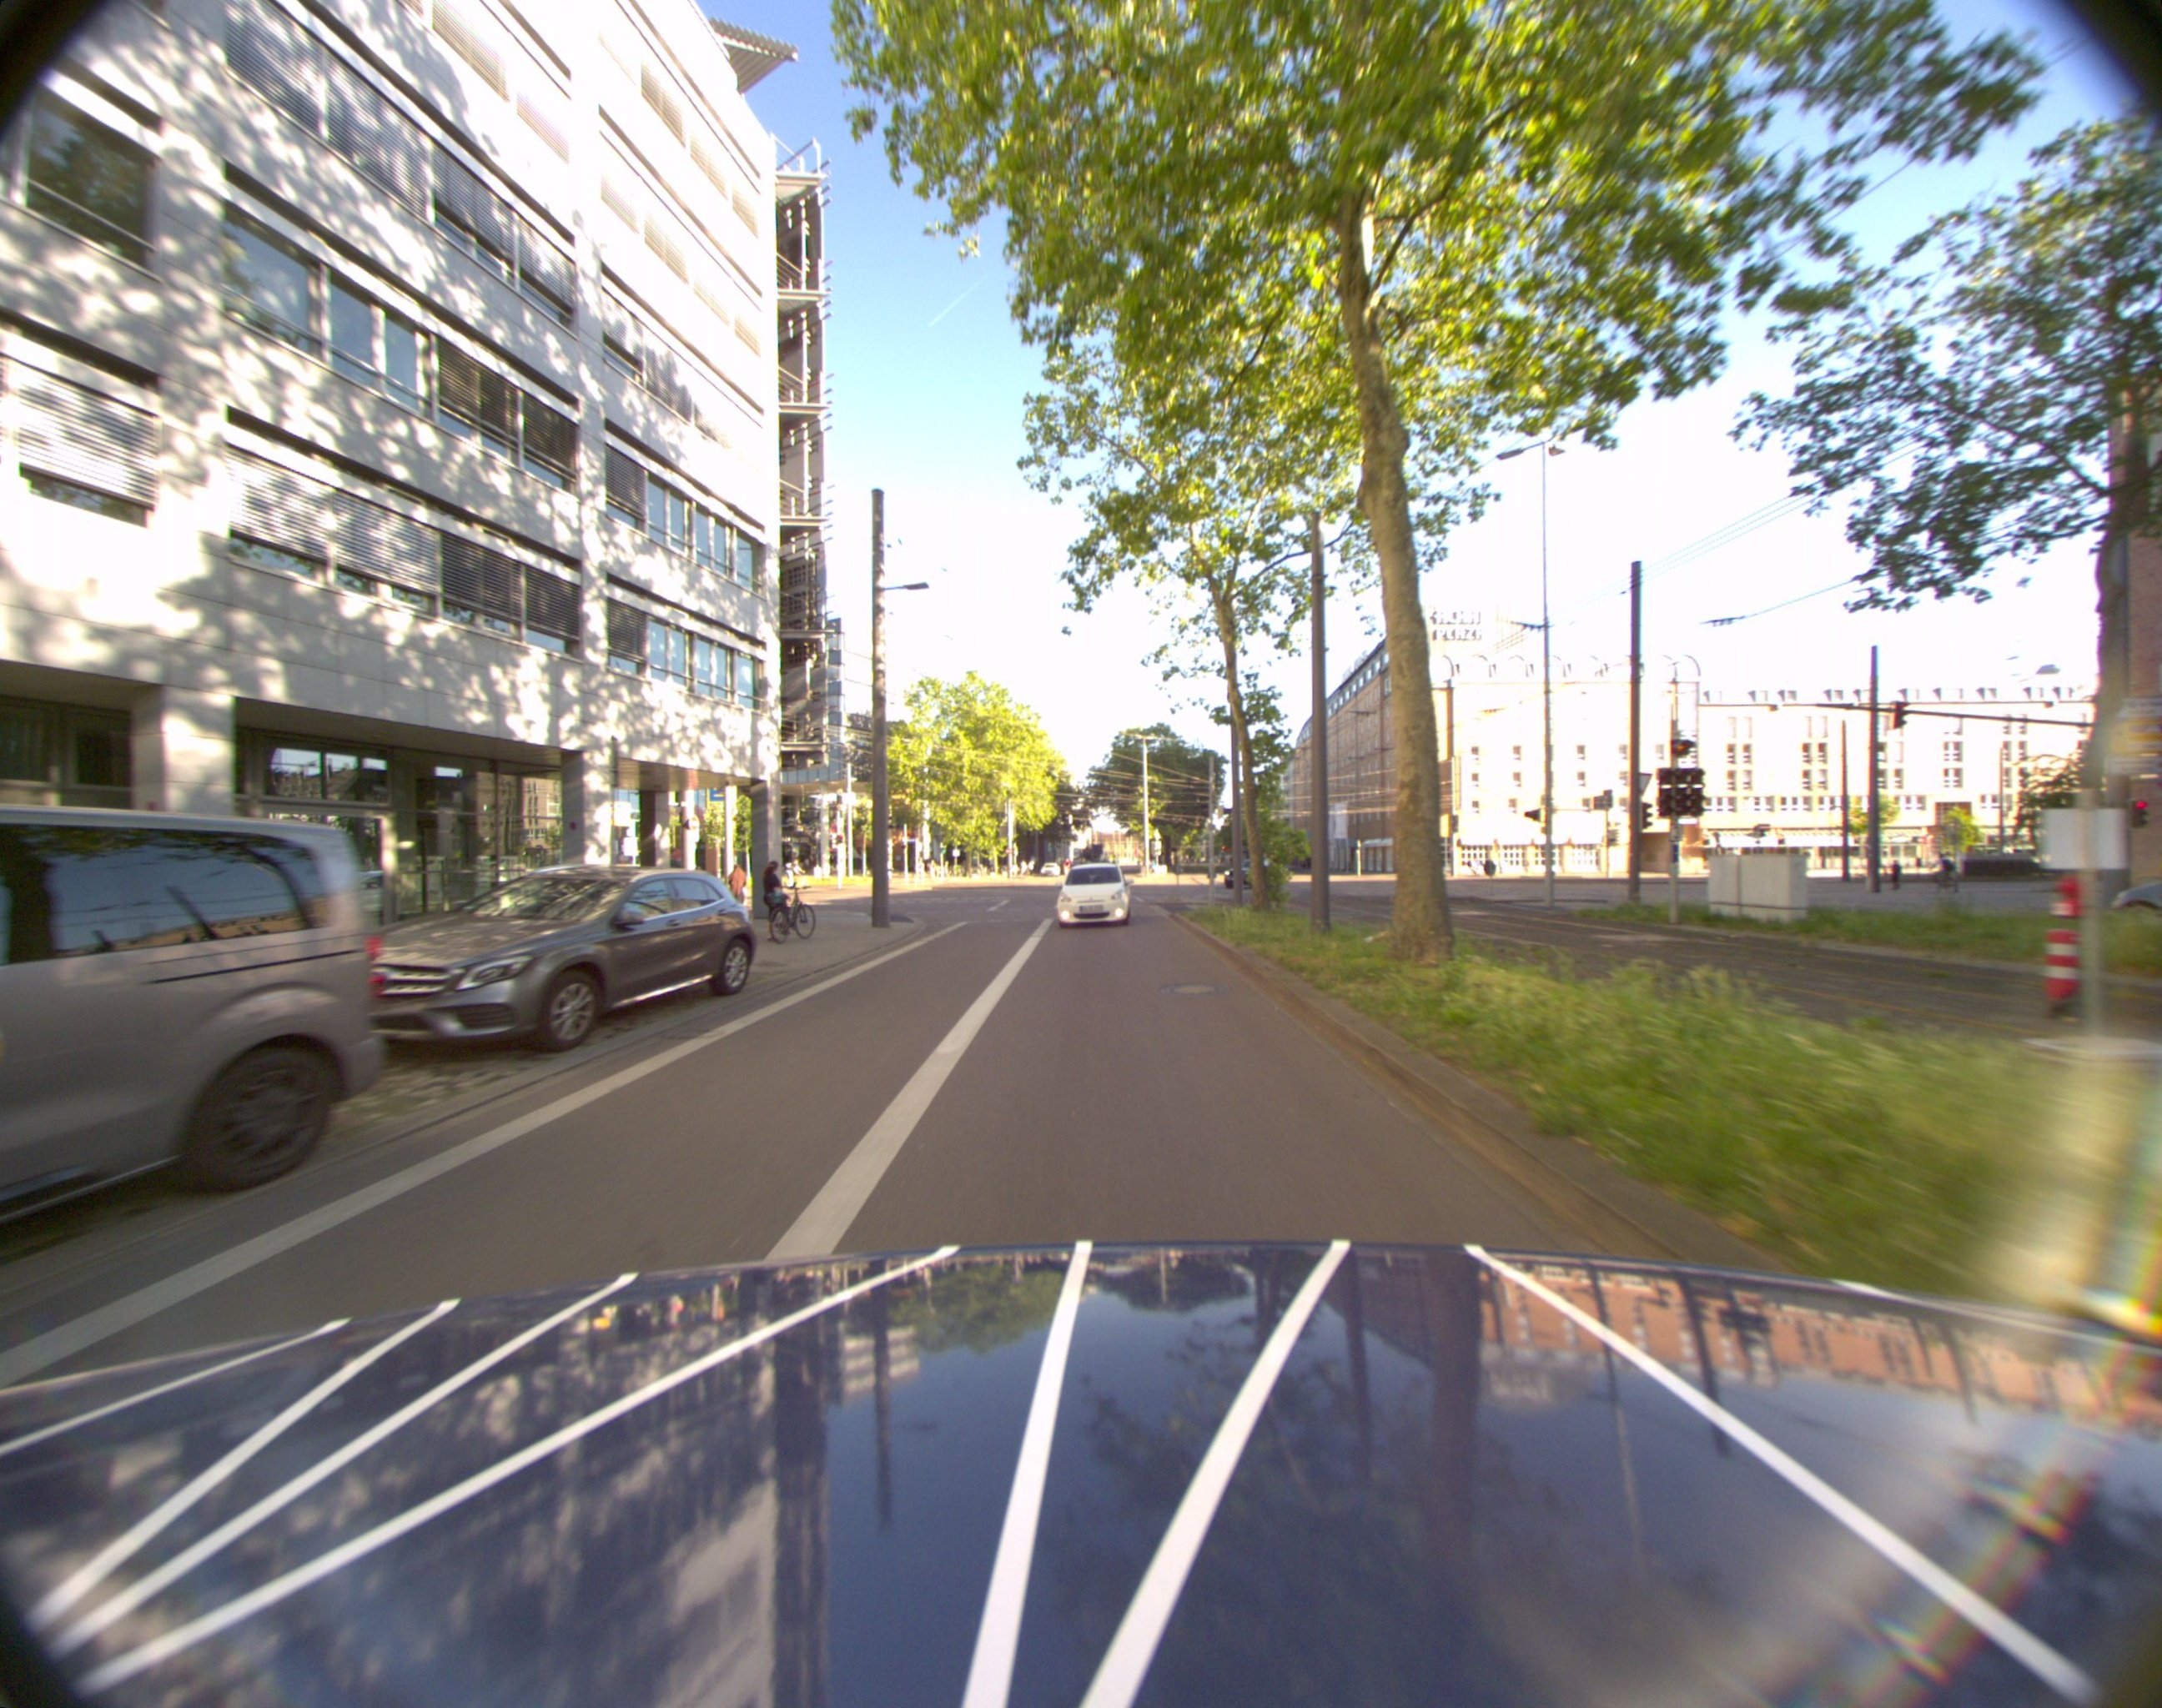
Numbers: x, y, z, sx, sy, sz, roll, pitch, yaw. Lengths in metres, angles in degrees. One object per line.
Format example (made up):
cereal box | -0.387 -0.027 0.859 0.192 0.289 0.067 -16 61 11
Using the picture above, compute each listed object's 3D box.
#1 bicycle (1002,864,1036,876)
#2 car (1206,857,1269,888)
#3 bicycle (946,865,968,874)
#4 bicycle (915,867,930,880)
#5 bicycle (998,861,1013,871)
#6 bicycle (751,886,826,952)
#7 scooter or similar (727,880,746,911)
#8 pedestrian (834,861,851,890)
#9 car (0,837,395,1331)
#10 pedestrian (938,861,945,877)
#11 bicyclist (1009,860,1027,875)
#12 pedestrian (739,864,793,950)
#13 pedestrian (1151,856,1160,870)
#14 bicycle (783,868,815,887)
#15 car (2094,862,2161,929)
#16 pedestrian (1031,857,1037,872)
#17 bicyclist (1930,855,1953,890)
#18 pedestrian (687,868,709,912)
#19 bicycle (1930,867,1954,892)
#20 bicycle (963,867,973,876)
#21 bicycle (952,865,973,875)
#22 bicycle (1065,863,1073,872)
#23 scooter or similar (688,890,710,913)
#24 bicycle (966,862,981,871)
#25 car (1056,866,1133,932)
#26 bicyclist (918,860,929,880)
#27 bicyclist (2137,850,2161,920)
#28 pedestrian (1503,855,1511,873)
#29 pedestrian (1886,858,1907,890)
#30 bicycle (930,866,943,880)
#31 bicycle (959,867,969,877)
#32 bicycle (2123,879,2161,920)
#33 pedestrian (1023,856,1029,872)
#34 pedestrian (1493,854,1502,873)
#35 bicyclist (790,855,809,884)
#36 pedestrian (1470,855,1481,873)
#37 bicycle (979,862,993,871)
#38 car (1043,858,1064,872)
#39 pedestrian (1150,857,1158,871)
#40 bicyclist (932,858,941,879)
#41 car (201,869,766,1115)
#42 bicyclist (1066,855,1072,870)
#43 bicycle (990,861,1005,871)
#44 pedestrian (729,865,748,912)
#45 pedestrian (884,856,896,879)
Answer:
bicycle | -5.939 1.575 72.771 3.177 1.126 1.044 0 0 4
car | 8.987 1.079 44.105 1.957 1.652 4.352 -1 -1 -12
bicycle | -14.813 1.826 90.626 2.924 1.085 0.880 0 0 41
bicycle | -12.399 1.529 59.563 0.515 1.015 1.634 -1 0 13
bicycle | -9.276 1.435 93.282 0.879 1.228 2.926 0 0 -27
bicycle | -5.765 1.245 15.075 0.612 1.156 1.849 3 -1 4
scooter or similar | -13.076 1.573 28.842 0.551 1.123 1.016 0 0 -29
pedestrian | -15.308 1.364 48.830 0.676 1.813 0.885 -1 2 5
car | -5.027 0.851 1.969 1.927 1.833 4.925 2 0 1
pedestrian | -13.114 1.410 71.386 0.489 1.573 0.659 0 0 3
bicyclist | -6.013 1.289 72.789 1.562 1.373 1.044 0 0 4
pedestrian | -6.163 1.014 14.890 0.606 1.601 0.838 2 -1 3
pedestrian | 7.853 0.939 80.206 0.742 1.530 0.677 -1 -1 -8
bicycle | -16.537 1.375 44.602 1.686 1.101 0.643 0 0 -18
car | 22.399 0.798 14.344 1.654 1.320 3.622 -1 -1 -2
pedestrian | -5.432 1.182 88.223 0.642 1.766 0.617 -1 0 0
bicyclist | 40.273 0.862 35.554 0.929 1.581 0.684 -1 0 -43
pedestrian | -14.201 1.317 28.156 0.661 1.591 0.702 0 -1 -31
bicycle | 40.290 1.185 35.557 1.924 1.073 0.615 -1 0 -45
bicycle | -12.070 1.890 81.249 0.390 0.980 1.712 0 0 14
bicycle | -14.285 1.931 91.419 2.924 1.085 0.880 0 0 41
bicycle | -1.341 1.486 84.157 0.651 0.905 1.860 0 0 4
scooter or similar | -13.870 1.719 27.577 0.661 0.786 0.616 0 -1 -31
bicycle | -13.251 1.505 93.826 0.879 1.085 2.926 0 0 -27
car | 0.438 1.041 19.253 1.639 1.458 4.188 0 0 5
bicyclist | -12.382 1.251 59.585 0.569 1.494 0.746 -1 1 13
bicyclist | 25.415 0.716 17.660 0.623 1.612 0.815 -1 0 14
pedestrian | 41.697 0.997 74.438 0.577 1.764 0.406 1 3 44
pedestrian | 42.062 1.028 39.179 0.505 1.607 0.509 -1 -1 -11
bicycle | -11.814 1.540 62.122 0.516 1.015 1.859 -1 0 5
bicycle | -12.537 1.899 81.367 0.390 0.980 1.712 0 0 14
bicycle | 25.414 1.072 17.654 0.536 0.907 1.571 -1 0 14
pedestrian | -6.324 1.149 87.814 0.642 1.766 0.617 -1 0 0
pedestrian | 40.657 0.920 74.175 0.734 1.823 0.497 -2 2 -35
bicyclist | -16.521 0.893 44.604 0.994 1.657 0.765 0 0 -18
pedestrian | 38.901 0.998 74.934 0.695 1.757 0.573 0 0 -11
bicycle | -11.781 1.493 94.172 0.879 1.085 2.926 0 0 -27
car | -3.114 1.286 86.909 1.998 1.477 4.002 -1 -1 4
pedestrian | 7.755 1.083 80.863 0.742 1.530 0.651 -1 -1 -8
bicyclist | -11.819 1.215 62.180 0.569 1.685 0.745 -1 1 5
car | -5.127 1.002 7.525 1.863 1.563 4.416 2 0 4
bicyclist | -1.332 0.956 84.175 0.637 1.605 0.929 0 0 4
bicycle | -10.192 1.436 92.782 0.879 1.228 2.926 0 0 -27
pedestrian | -12.665 1.274 28.108 0.582 1.698 0.637 0 0 -29
pedestrian | -15.343 1.070 60.992 0.514 1.825 0.704 -1 -1 35
